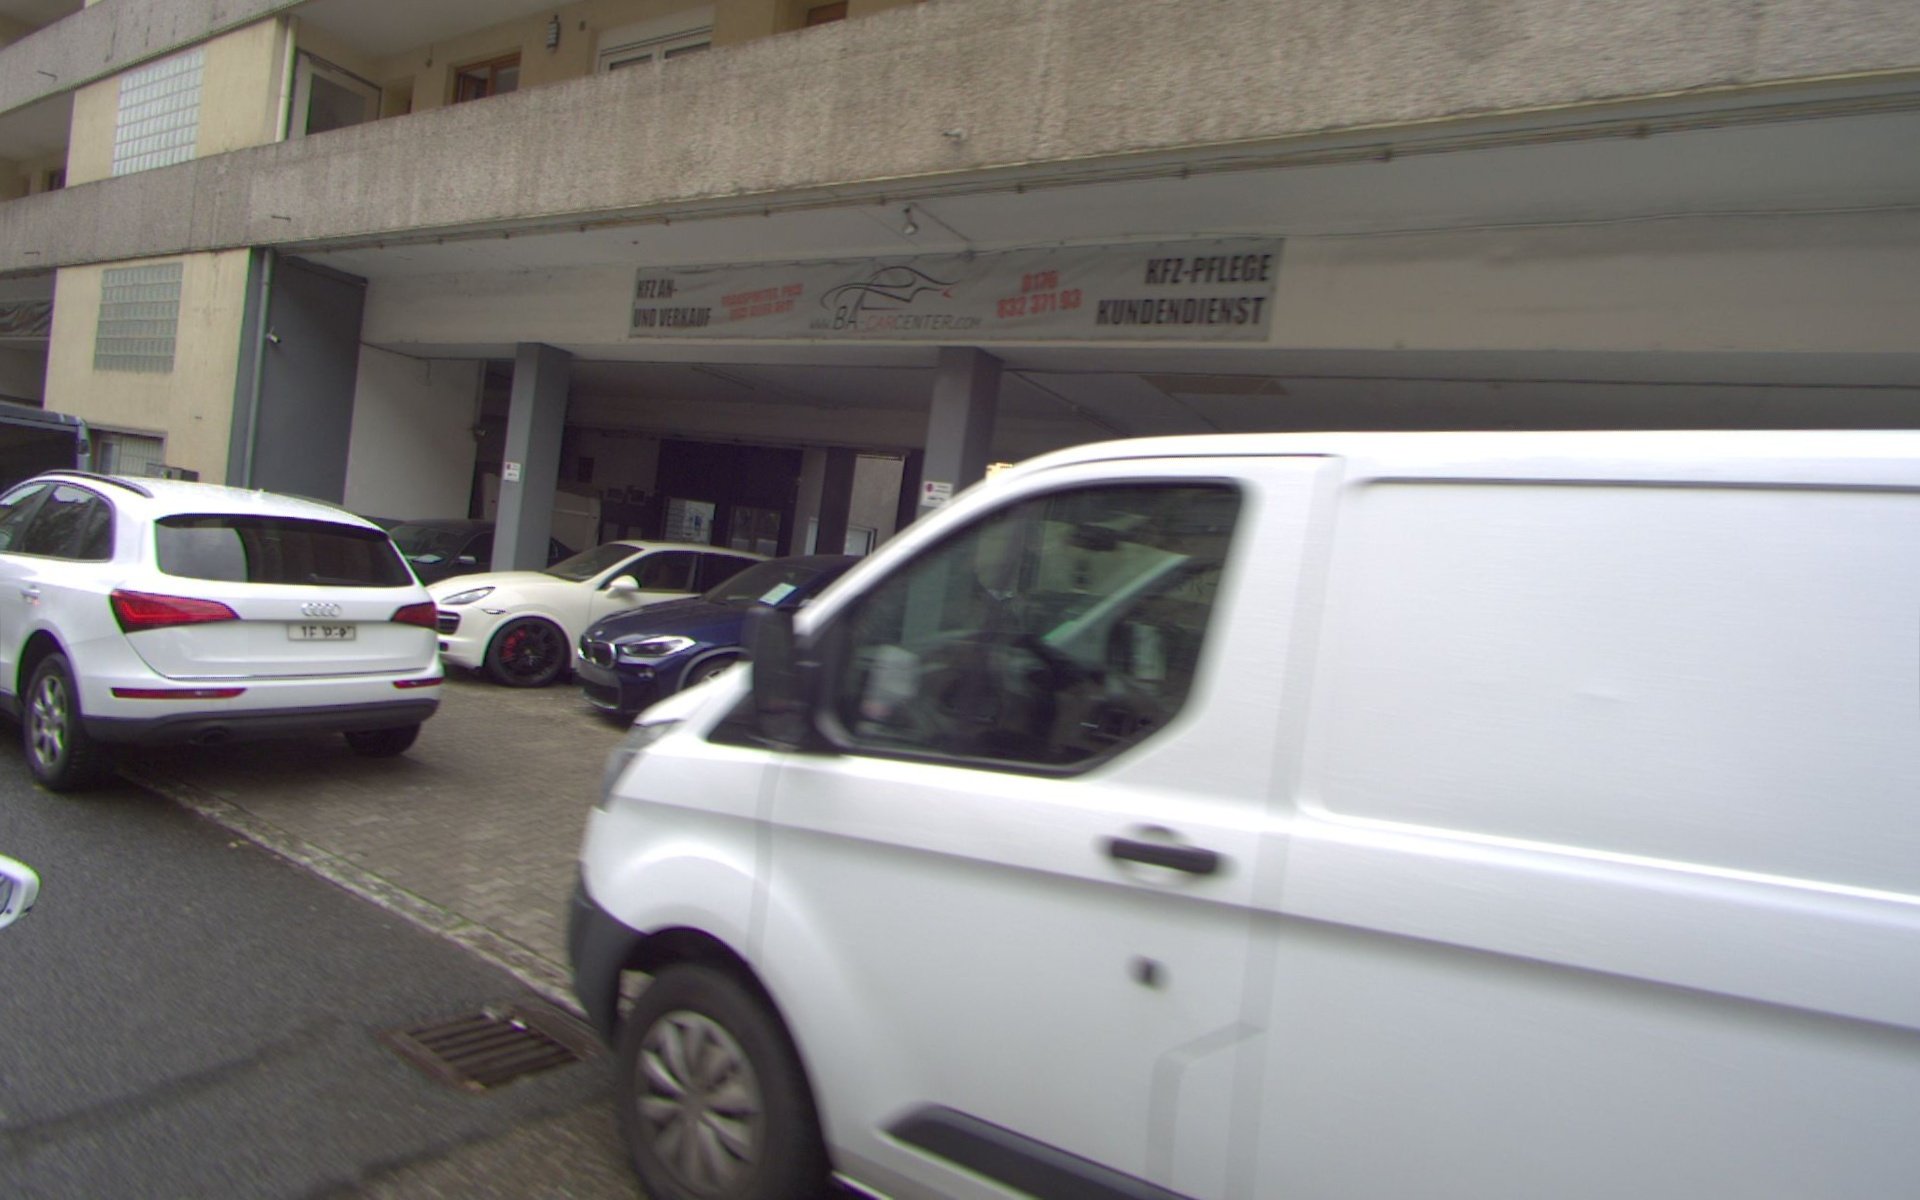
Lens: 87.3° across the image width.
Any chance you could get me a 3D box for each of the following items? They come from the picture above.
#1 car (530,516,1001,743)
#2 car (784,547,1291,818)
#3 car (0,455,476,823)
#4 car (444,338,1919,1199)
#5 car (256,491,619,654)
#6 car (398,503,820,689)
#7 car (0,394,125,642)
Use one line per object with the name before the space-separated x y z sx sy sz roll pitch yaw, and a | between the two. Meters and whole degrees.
car | -1.735 0.291 9.578 3.923 1.663 1.792 4 4 -40
car | 0.789 0.600 8.308 3.968 1.605 1.791 4 4 -42
car | -5.257 0.020 6.515 4.202 1.662 1.747 7 2 31
car | 1.166 0.656 2.357 4.743 1.982 1.990 7 2 32
car | -6.743 -0.315 13.569 1.764 1.677 4.240 7 2 17
car | -3.816 0.014 11.244 4.001 1.663 1.792 4 4 -40
car | -10.848 -1.011 10.058 5.418 2.177 2.154 7 2 31
